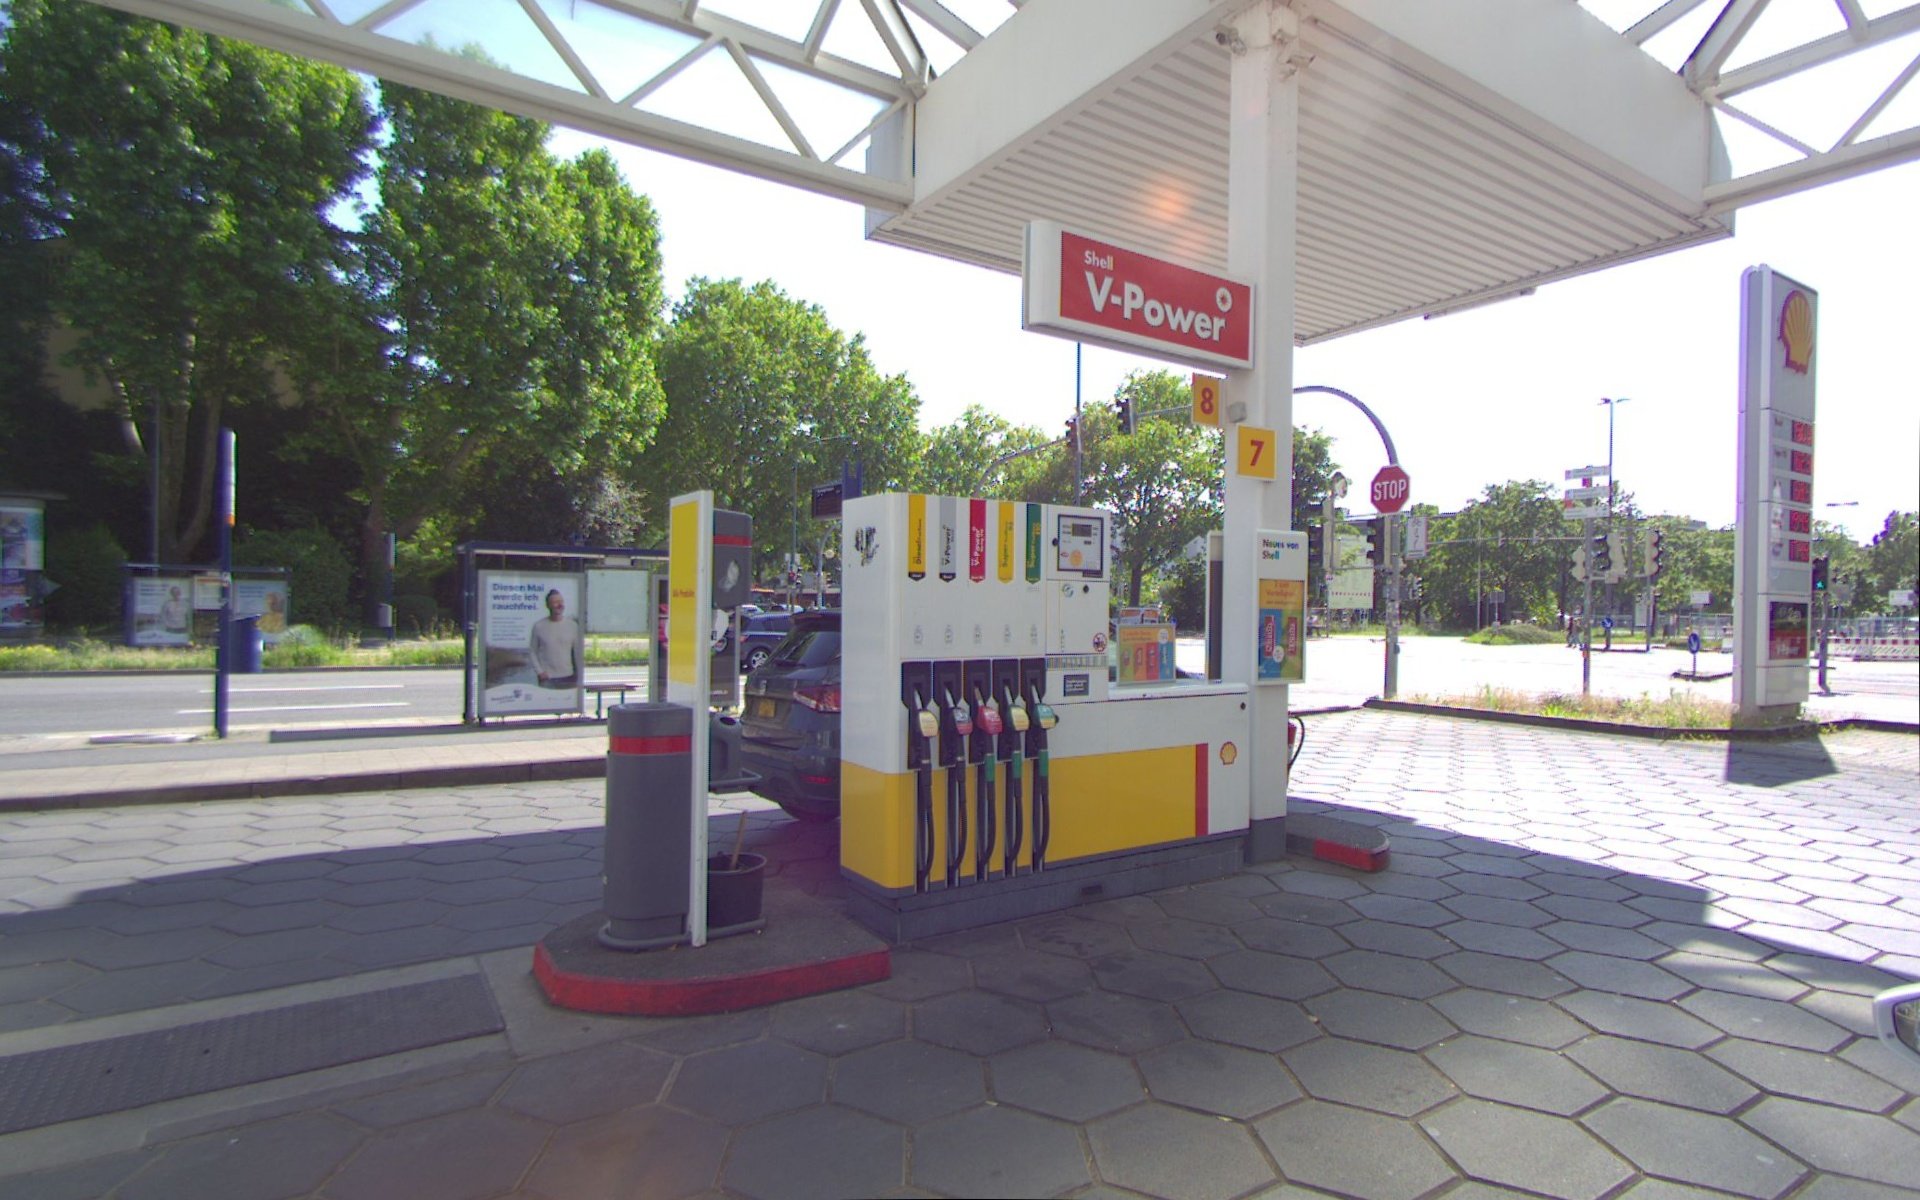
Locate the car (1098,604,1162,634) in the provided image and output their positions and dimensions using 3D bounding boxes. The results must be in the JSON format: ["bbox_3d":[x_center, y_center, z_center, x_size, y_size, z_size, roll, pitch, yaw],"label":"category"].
[{"bbox_3d":[11.931,1.397,70.729,1.980,2.040,4.404,2,-3,-35],"label":"car"}]

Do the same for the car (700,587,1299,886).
[{"bbox_3d":[0.396,0.778,7.062,3.958,1.552,1.733,2,-2,-34],"label":"car"}]

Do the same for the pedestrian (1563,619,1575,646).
[{"bbox_3d":[34.463,1.844,56.849,0.555,1.488,0.512,1,0,33],"label":"pedestrian"}]

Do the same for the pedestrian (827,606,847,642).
[{"bbox_3d":[-5.966,1.178,48.686,0.776,1.696,0.557,1,-2,-31],"label":"pedestrian"}]

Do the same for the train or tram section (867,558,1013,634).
[{"bbox_3d":[-1.744,-0.213,67.530,2.304,4.549,14.808,2,-1,-33],"label":"train or tram section"}]

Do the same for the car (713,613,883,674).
[{"bbox_3d":[-4.125,1.082,25.747,3.960,1.385,1.669,1,1,-34],"label":"car"}]

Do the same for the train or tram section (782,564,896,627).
[{"bbox_3d":[-10.009,-0.335,80.403,2.304,4.549,15.781,2,-1,-33],"label":"train or tram section"}]

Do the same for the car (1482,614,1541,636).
[{"bbox_3d":[46.681,2.150,85.115,1.975,1.839,3.971,1,-2,-28],"label":"car"}]

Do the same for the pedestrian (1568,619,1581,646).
[{"bbox_3d":[34.044,1.777,55.653,0.555,1.488,0.512,1,0,33],"label":"pedestrian"}]
